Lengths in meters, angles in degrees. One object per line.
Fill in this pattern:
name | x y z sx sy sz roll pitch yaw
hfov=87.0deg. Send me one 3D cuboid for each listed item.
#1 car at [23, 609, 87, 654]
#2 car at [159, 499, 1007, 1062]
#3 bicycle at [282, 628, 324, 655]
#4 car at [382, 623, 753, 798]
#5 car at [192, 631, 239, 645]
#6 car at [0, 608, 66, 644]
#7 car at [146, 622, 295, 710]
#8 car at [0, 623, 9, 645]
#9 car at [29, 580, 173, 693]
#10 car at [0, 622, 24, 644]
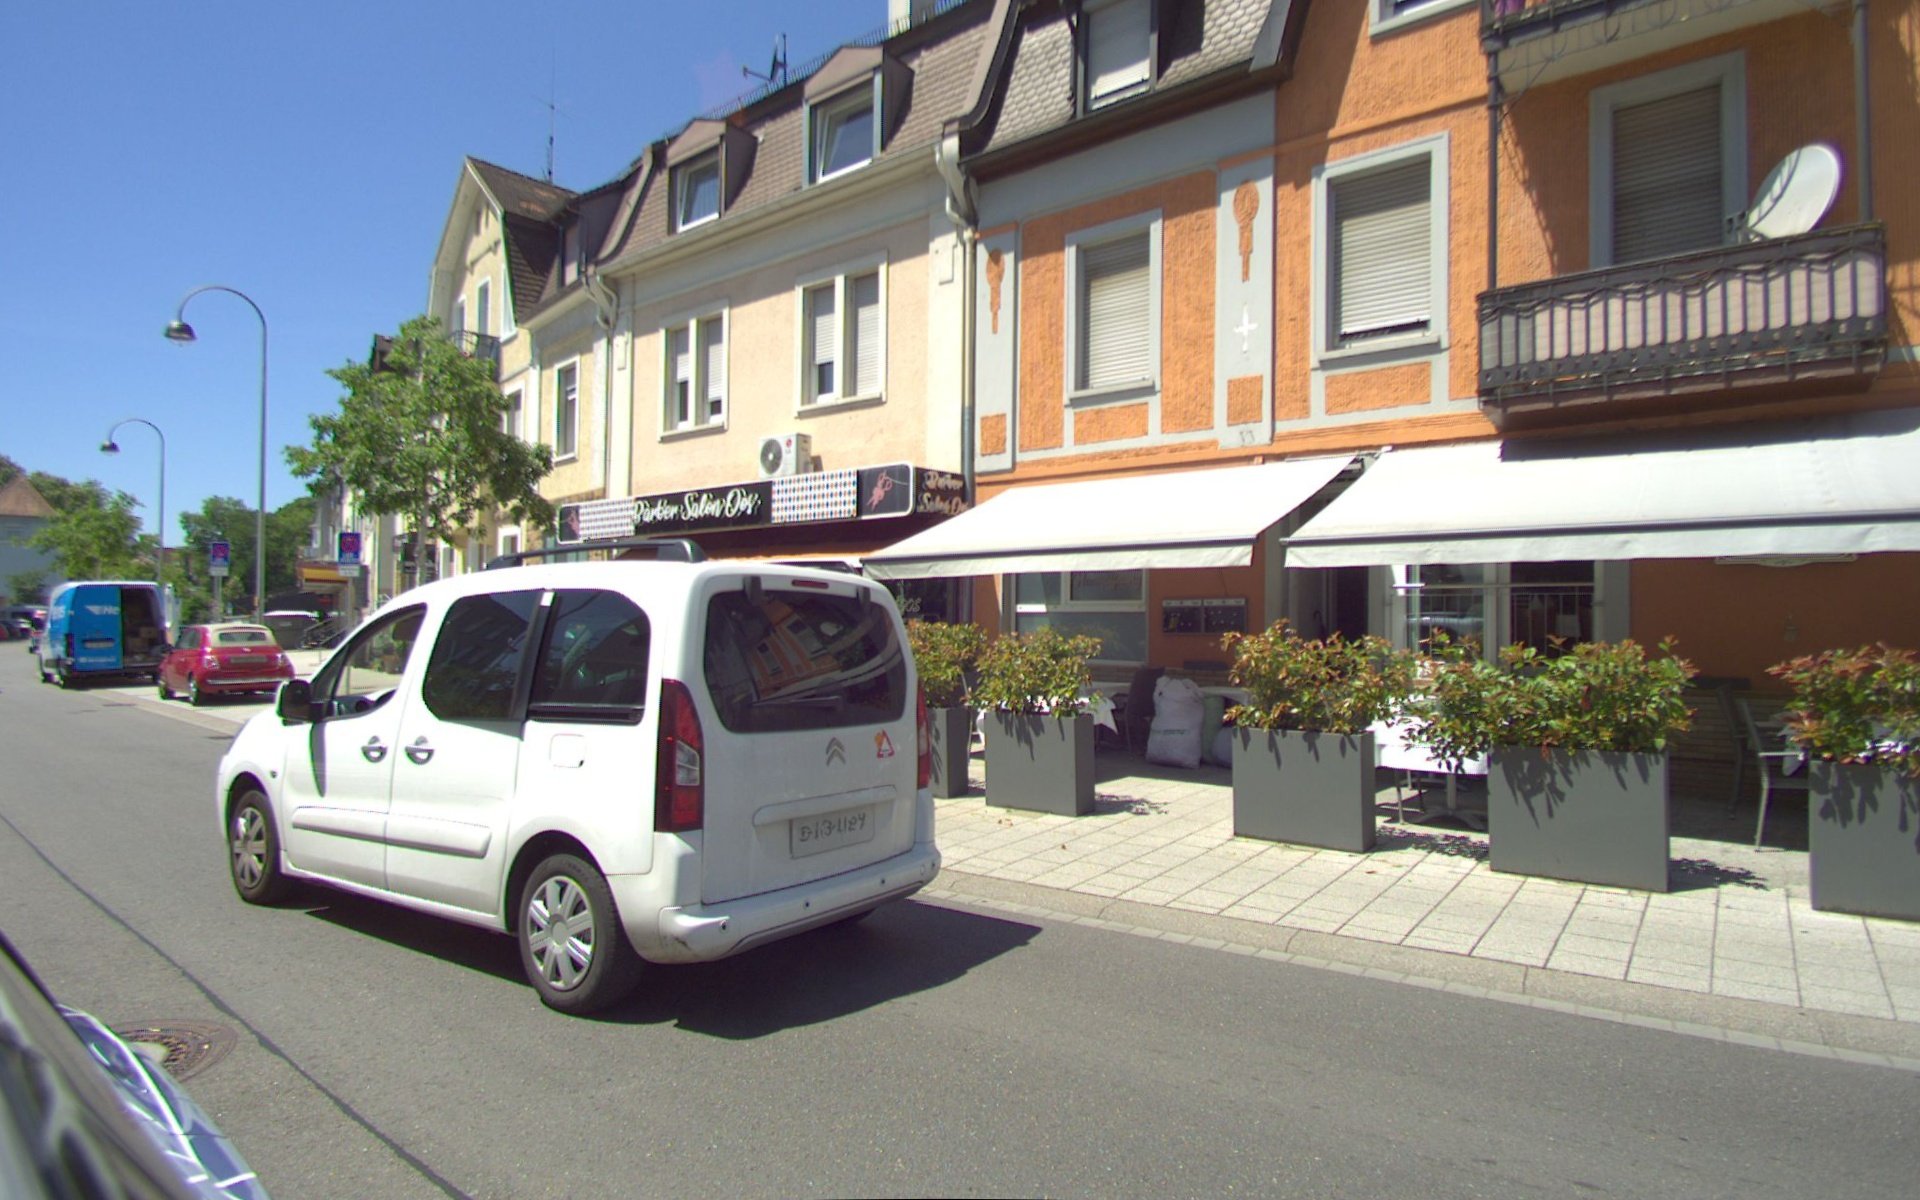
car | -50.764 1.782 56.846 2.128 2.380 5.259 3 -4 -37
car | -2.144 0.668 5.380 4.403 1.836 1.977 -1 -4 34
bicycle | -32.814 2.053 50.546 1.741 1.244 0.618 -2 -1 -34
car | -4.410 1.031 11.066 4.333 1.493 1.896 -1 0 39
car | -85.009 4.389 115.618 1.824 1.548 3.909 0 -2 23
car | -75.404 2.098 81.470 4.788 2.757 1.856 3 -3 -32
car | -14.604 1.221 19.937 3.512 1.532 1.544 0 -1 39
car | -67.610 2.271 69.012 3.756 1.473 1.656 3 -3 -34
car | -21.433 0.851 25.156 5.502 2.517 2.069 -1 -1 42
car | -69.763 2.319 72.107 4.289 1.563 1.656 3 -3 -36
